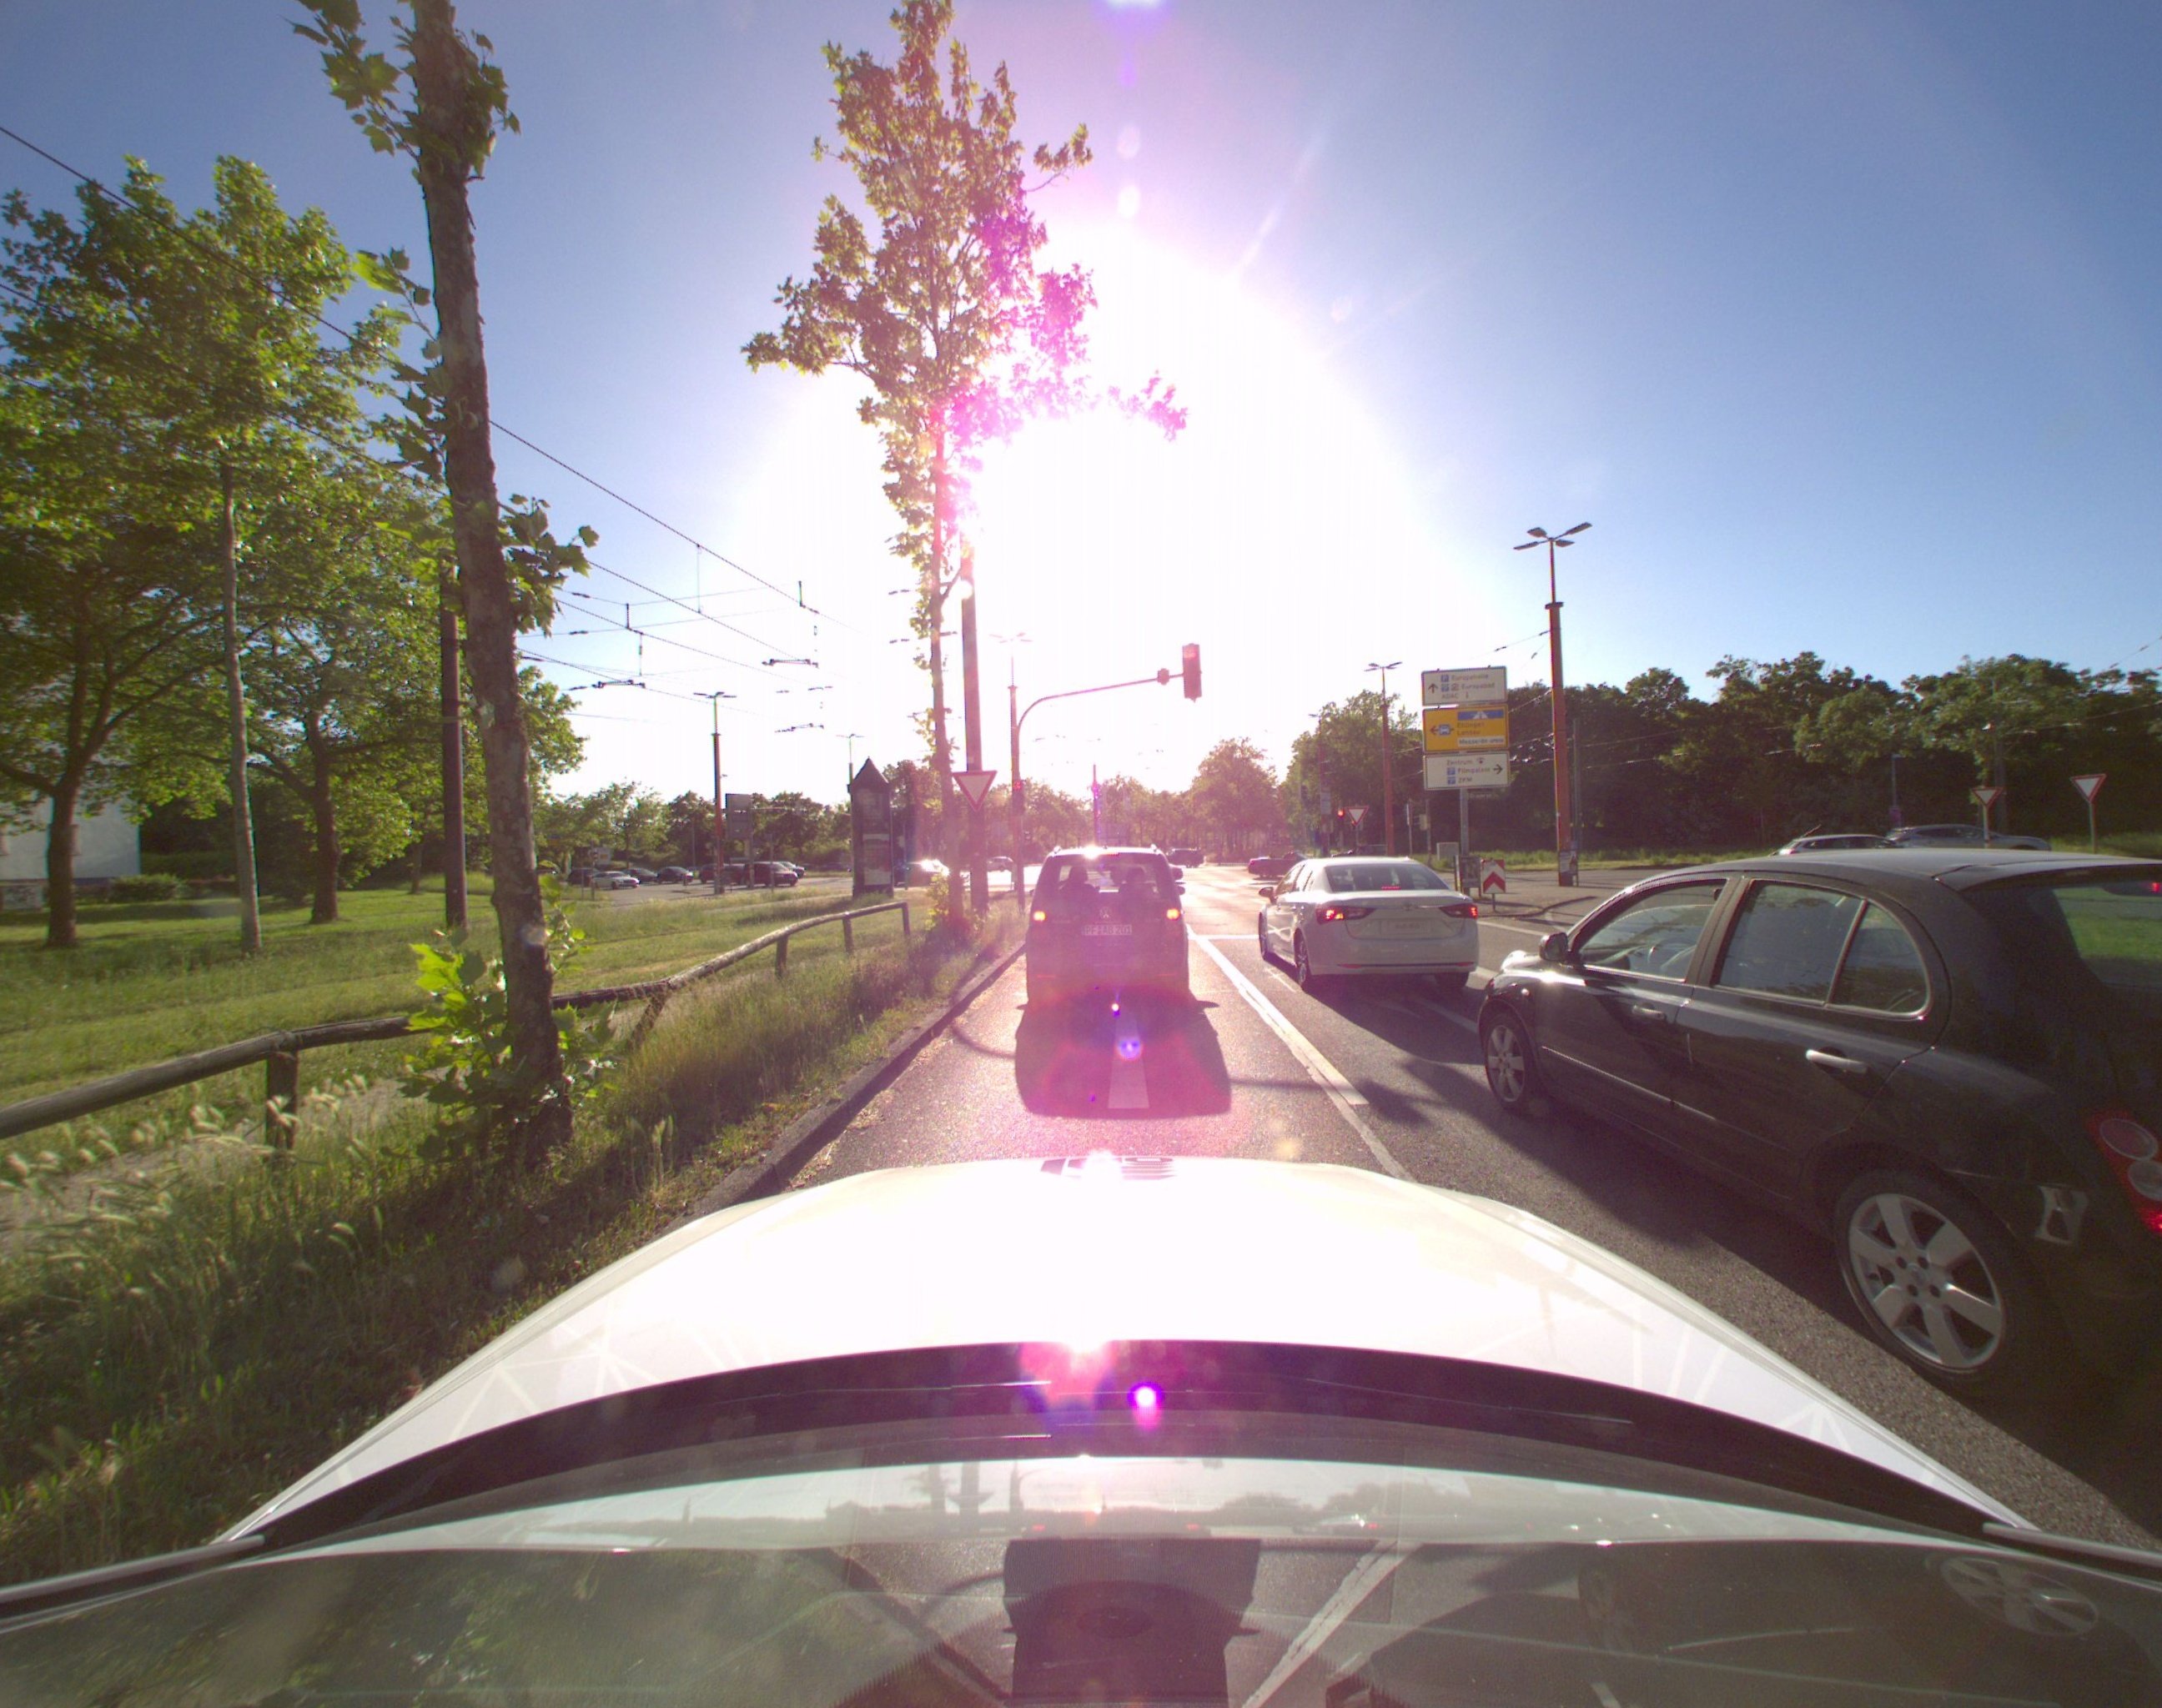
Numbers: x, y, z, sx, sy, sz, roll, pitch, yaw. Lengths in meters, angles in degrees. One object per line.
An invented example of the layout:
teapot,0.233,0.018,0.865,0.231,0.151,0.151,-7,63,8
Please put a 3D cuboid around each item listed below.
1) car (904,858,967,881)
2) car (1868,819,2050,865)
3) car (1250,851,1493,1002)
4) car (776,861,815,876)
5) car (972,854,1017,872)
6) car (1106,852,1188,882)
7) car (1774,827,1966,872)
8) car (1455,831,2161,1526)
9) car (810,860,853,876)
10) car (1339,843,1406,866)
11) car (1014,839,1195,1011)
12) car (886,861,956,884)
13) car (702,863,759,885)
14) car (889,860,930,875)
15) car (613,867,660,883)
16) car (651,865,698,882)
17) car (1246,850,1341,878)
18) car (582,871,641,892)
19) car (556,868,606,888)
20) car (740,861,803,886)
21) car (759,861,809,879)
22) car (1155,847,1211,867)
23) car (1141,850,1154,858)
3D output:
car,-10.092,1.063,56.440,4.179,1.479,1.765,-2,0,32
car,32.897,-0.421,30.720,4.309,1.581,1.782,-2,0,30
car,3.298,0.718,10.117,1.708,1.454,4.147,-2,0,3
car,-34.378,1.741,98.019,4.411,1.596,2.012,-2,0,28
car,-8.587,0.883,80.494,3.949,1.580,2.012,-2,0,29
car,3.541,0.687,43.618,3.949,1.494,1.782,-2,0,29
car,28.499,-0.135,29.662,4.709,1.494,1.782,-2,0,31
car,3.168,0.692,3.513,1.550,1.506,3.517,-2,0,2
car,-27.843,1.569,90.739,4.411,1.596,2.012,-2,0,28
car,21.645,0.023,60.566,4.411,1.596,2.012,-2,0,28
car,0.297,0.695,9.989,1.731,1.641,4.002,-2,0,2
car,-10.211,1.200,51.876,4.262,1.327,1.772,-2,0,31
car,-28.401,1.607,66.027,4.507,1.668,1.854,-2,0,30
car,-20.374,1.629,96.906,4.473,1.596,1.984,-2,0,-23
car,-42.357,1.989,77.647,4.187,1.464,1.926,-2,0,28
car,-37.354,1.777,74.841,4.004,1.464,1.926,-2,0,28
car,11.344,0.532,43.568,4.608,1.362,1.782,-2,0,31
car,-39.414,2.303,68.310,4.867,1.575,2.012,-2,0,29
car,-47.609,2.290,77.553,4.735,1.836,1.926,-2,0,29
car,-22.471,1.424,59.123,4.303,1.732,1.854,-2,0,28
car,-26.532,1.451,72.656,4.169,1.464,1.926,-2,0,29
car,8.876,0.238,70.939,4.411,1.596,2.012,-2,0,28
car,14.741,0.074,180.940,1.979,1.684,4.848,-2,0,15
